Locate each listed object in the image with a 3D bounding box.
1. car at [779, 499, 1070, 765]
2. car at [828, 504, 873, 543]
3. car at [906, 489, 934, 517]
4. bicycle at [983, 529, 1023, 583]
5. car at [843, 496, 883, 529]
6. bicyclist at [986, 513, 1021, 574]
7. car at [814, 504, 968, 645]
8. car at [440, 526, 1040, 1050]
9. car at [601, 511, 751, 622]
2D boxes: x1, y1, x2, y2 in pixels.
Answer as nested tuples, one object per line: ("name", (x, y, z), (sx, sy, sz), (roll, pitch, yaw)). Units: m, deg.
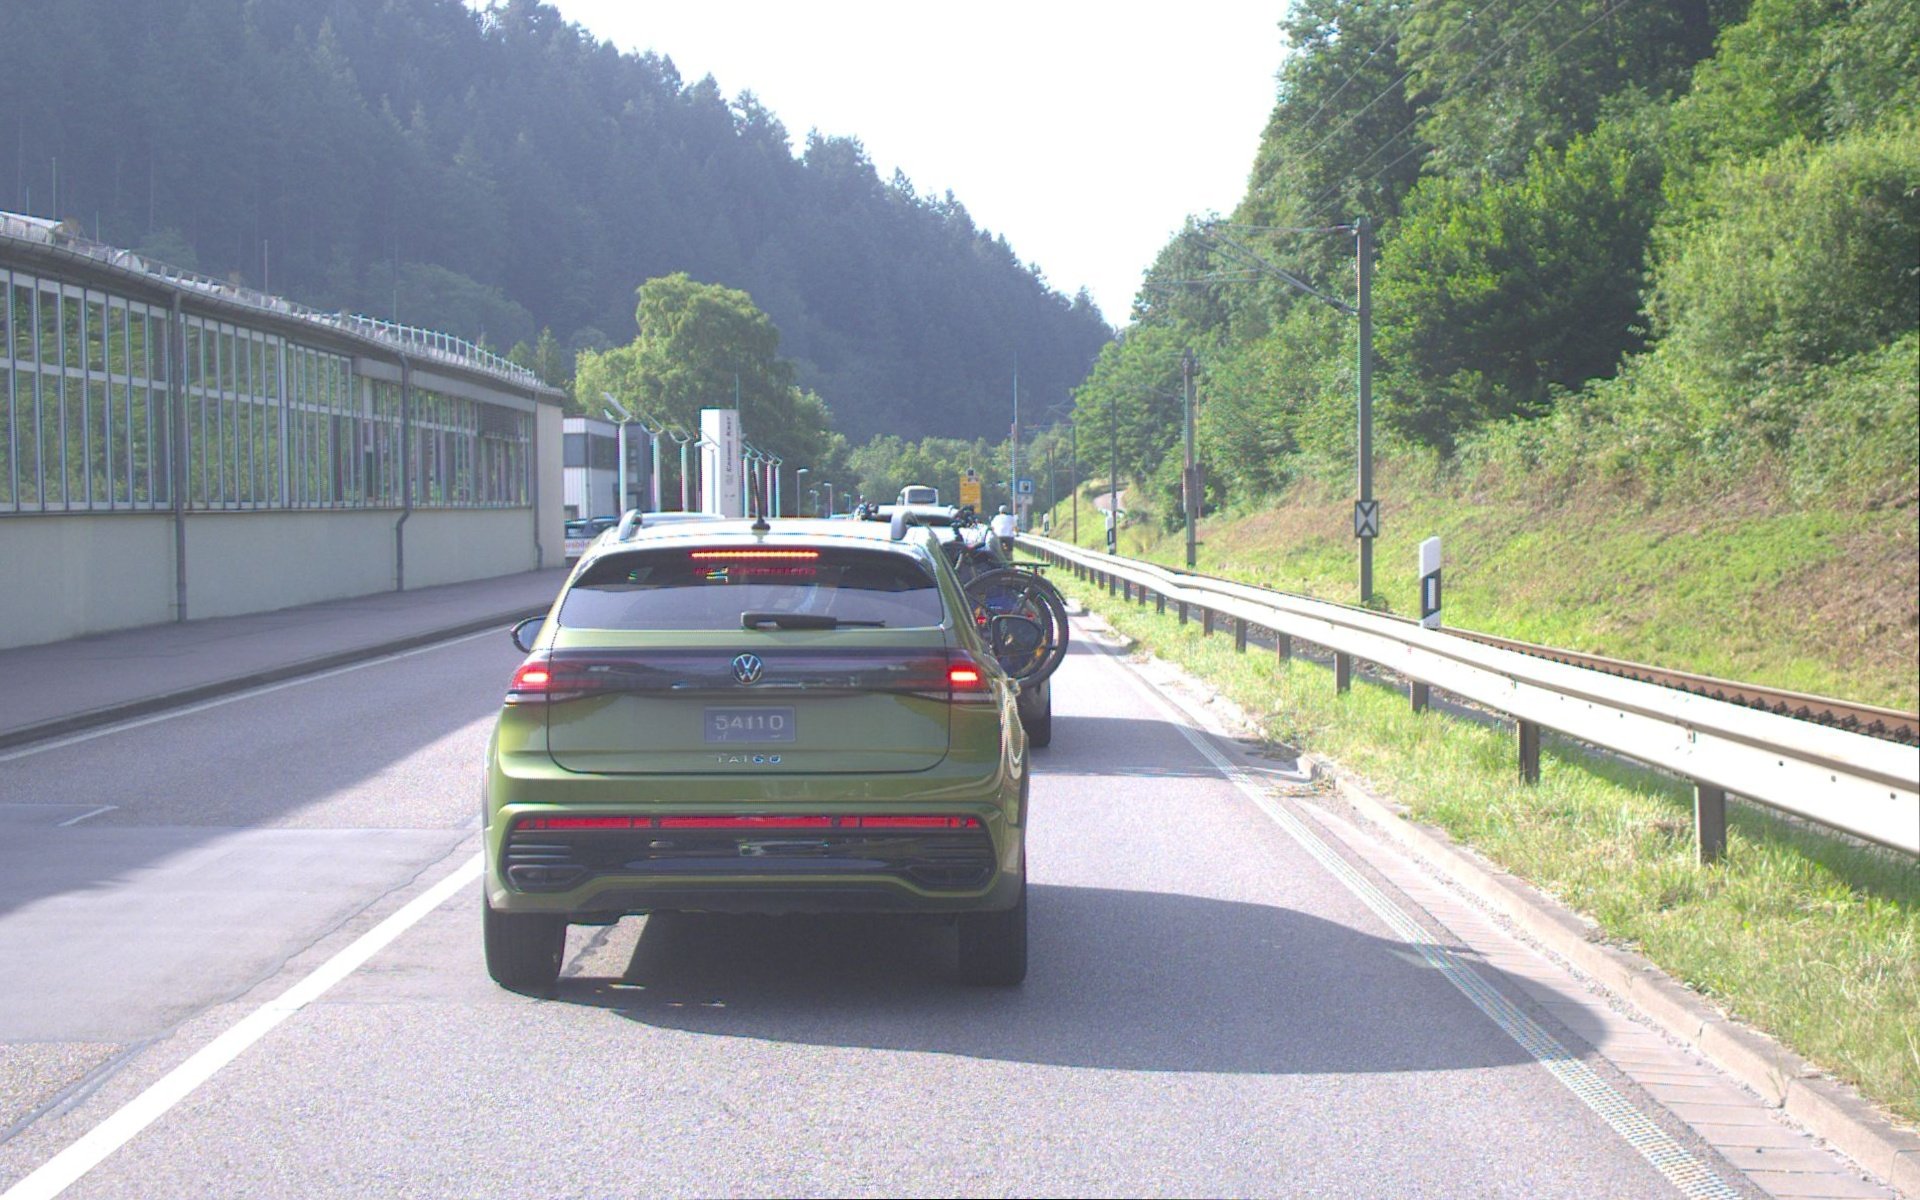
("car", (-0.258, 0.140, 22.672), (1.739, 1.596, 4.001), (0, 1, -1))
("car", (-4.404, -3.104, 138.779), (1.719, 1.509, 4.199), (1, 2, -1))
("car", (-2.994, -7.231, 256.154), (1.993, 2.007, 4.000), (1, 1, -1))
("bicycle", (1.009, -1.041, 80.583), (0.811, 1.246, 2.123), (0, 1, -2))
("car", (-4.488, -4.069, 159.975), (1.773, 1.485, 4.052), (1, 2, -1))
("bicyclist", (1.024, -1.323, 80.662), (0.781, 1.407, 0.675), (0, 1, -2))
("car", (-0.821, -0.344, 40.937), (1.739, 1.596, 4.001), (0, 1, -1))
("car", (-0.681, 0.503, 11.994), (1.739, 1.503, 4.001), (0, 1, -1))
("car", (-4.301, -0.547, 52.643), (1.930, 1.576, 4.458), (1, 1, 0))
